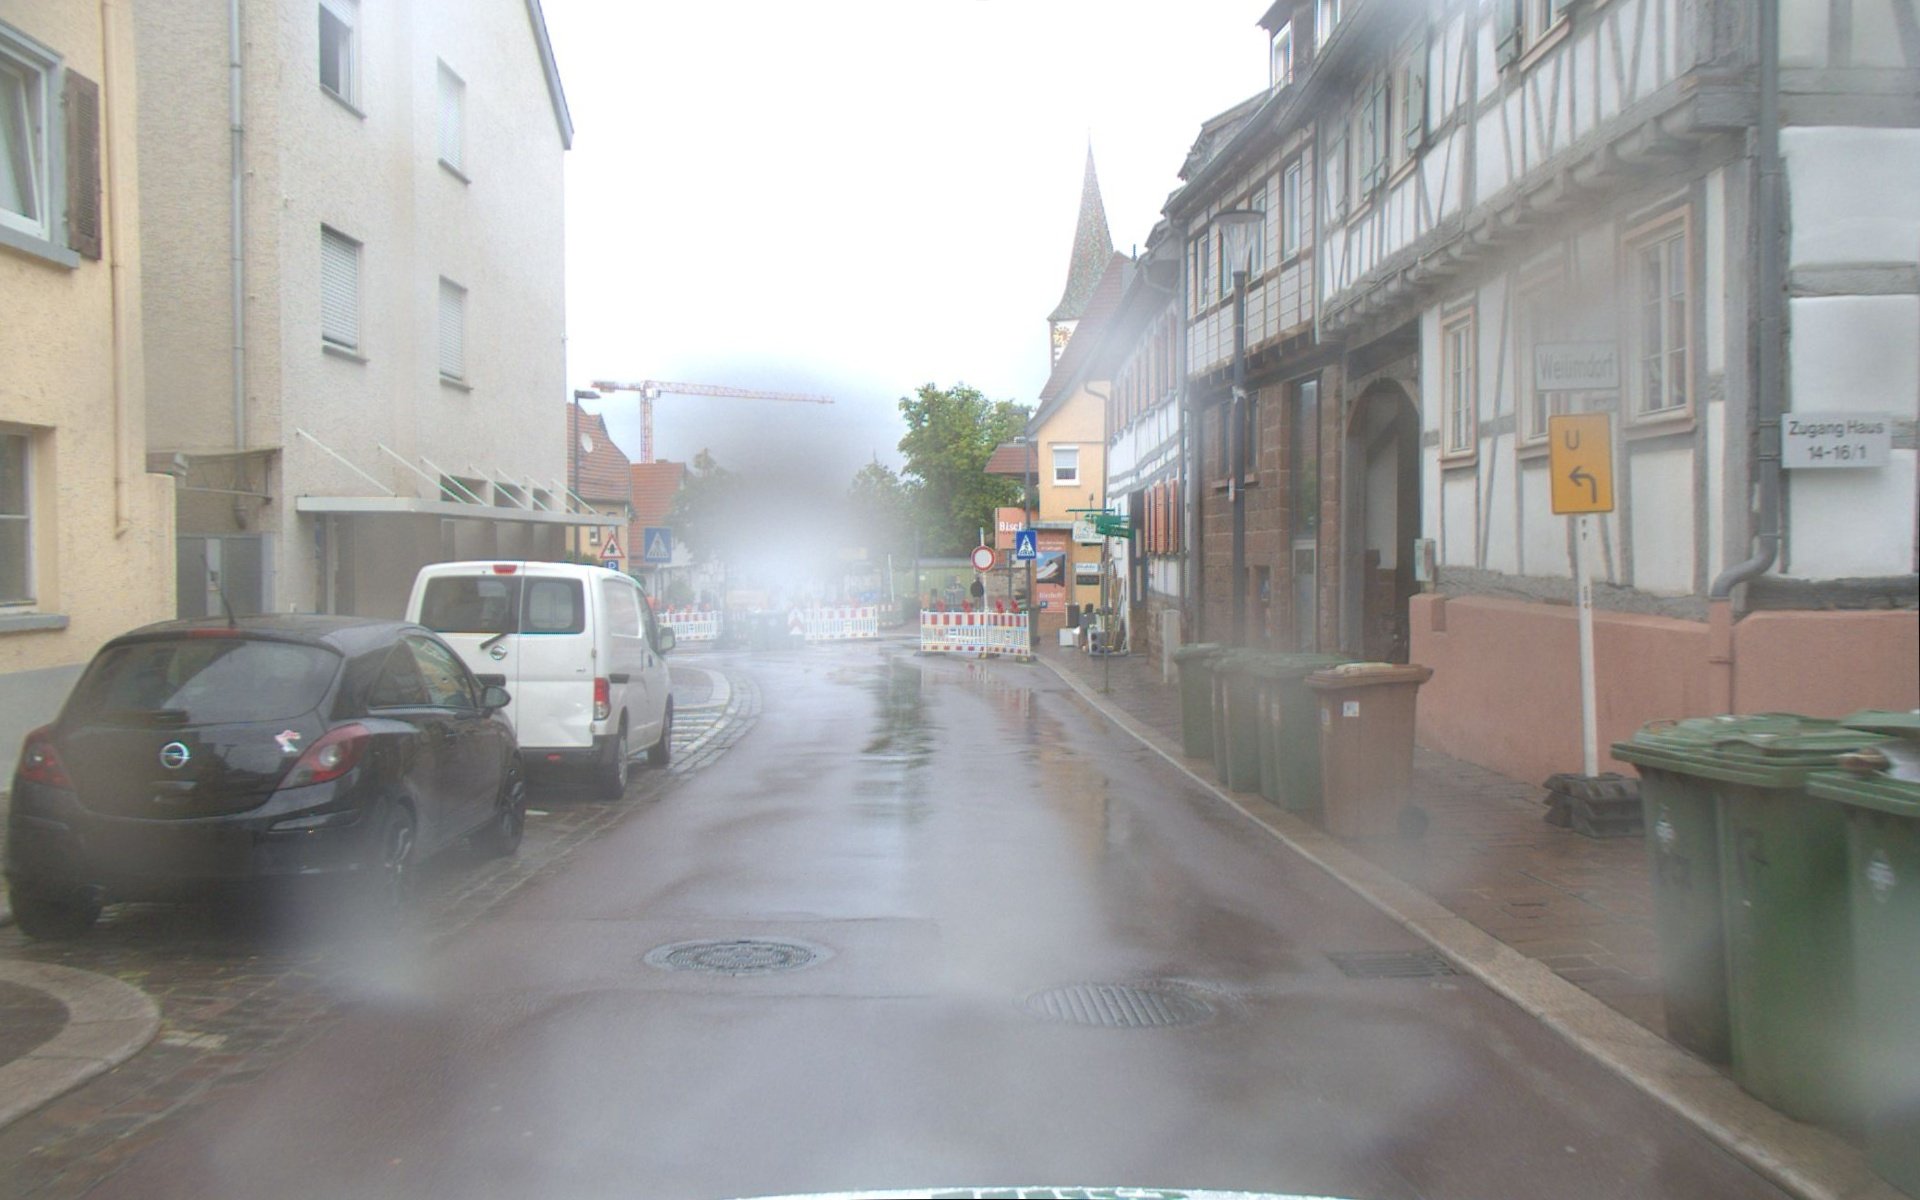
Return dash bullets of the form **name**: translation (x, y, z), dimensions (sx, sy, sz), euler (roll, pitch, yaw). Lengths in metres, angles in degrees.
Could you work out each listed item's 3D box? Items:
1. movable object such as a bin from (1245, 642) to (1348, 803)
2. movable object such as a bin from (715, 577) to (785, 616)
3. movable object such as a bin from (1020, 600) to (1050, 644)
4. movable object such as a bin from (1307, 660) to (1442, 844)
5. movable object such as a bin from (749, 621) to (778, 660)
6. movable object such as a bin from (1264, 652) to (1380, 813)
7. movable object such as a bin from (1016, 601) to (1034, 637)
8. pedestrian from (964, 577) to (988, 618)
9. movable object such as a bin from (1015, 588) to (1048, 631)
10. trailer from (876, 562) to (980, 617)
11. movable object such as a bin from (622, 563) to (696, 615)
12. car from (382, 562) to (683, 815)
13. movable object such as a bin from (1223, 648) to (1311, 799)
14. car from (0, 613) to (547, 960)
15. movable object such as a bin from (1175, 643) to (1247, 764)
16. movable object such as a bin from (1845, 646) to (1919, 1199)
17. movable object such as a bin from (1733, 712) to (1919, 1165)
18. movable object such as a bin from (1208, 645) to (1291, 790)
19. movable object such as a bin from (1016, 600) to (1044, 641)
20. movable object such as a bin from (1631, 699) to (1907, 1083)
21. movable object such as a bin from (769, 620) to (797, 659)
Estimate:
- **movable object such as a bin**: translation (2.542, 0.912, 12.538), dimensions (0.625, 1.167, 0.632), euler (0, 0, -3)
- **movable object such as a bin**: translation (-11.431, -0.180, 90.260), dimensions (3.332, 2.049, 3.478), euler (0, 0, 0)
- **movable object such as a bin**: translation (1.971, 0.580, 43.600), dimensions (0.666, 1.084, 0.539), euler (-2, 3, -9)
- **movable object such as a bin**: translation (2.645, 0.955, 10.606), dimensions (0.665, 1.116, 0.650), euler (0, 0, -5)
- **movable object such as a bin**: translation (-5.387, 1.109, 45.399), dimensions (0.530, 1.055, 0.571), euler (-3, -2, 32)
- **movable object such as a bin**: translation (2.595, 0.937, 11.901), dimensions (0.656, 1.100, 0.587), euler (-1, -1, -3)
- **movable object such as a bin**: translation (2.168, 0.637, 54.960), dimensions (0.507, 1.151, 0.580), euler (-4, 1, 2)
- **pedestrian**: translation (0.716, -0.114, 73.017), dimensions (0.971, 1.789, 0.850), euler (0, 0, -7)
- **movable object such as a bin**: translation (2.681, 0.348, 61.762), dimensions (1.043, 1.539, 1.243), euler (-4, 0, 6)
- **trailer**: translation (-1.794, -0.596, 92.164), dimensions (5.670, 2.999, 1.997), euler (0, 0, -6)
- **movable object such as a bin**: translation (-12.626, -0.456, 69.650), dimensions (1.864, 2.049, 4.003), euler (-3, -1, 8)
- **car**: translation (-3.519, 0.658, 14.411), dimensions (1.689, 1.857, 4.425), euler (0, 0, -3)
- **movable object such as a bin**: translation (2.442, 0.972, 13.218), dimensions (0.624, 1.167, 0.604), euler (0, 0, 4)
- **car**: translation (-3.376, 0.787, 8.808), dimensions (1.648, 1.413, 3.822), euler (0, 0, -4)
- **movable object such as a bin**: translation (2.438, 0.998, 16.117), dimensions (0.597, 1.147, 0.599), euler (0, 0, -1)
- **movable object such as a bin**: translation (2.592, 0.773, 3.958), dimensions (0.624, 1.313, 0.632), euler (0, 0, 4)
- **movable object such as a bin**: translation (2.618, 0.912, 4.664), dimensions (0.603, 1.151, 0.632), euler (0, 0, 4)
- **movable object such as a bin**: translation (2.417, 0.970, 13.849), dimensions (0.624, 1.167, 0.580), euler (0, 0, 4)
- **movable object such as a bin**: translation (1.883, 0.544, 44.201), dimensions (0.603, 1.084, 0.540), euler (-2, -1, 15)
- **movable object such as a bin**: translation (2.636, 0.920, 5.446), dimensions (0.603, 1.151, 0.632), euler (0, 0, 2)
- **movable object such as a bin**: translation (-4.827, 1.076, 45.094), dimensions (0.533, 1.051, 0.533), euler (-3, -2, 32)
